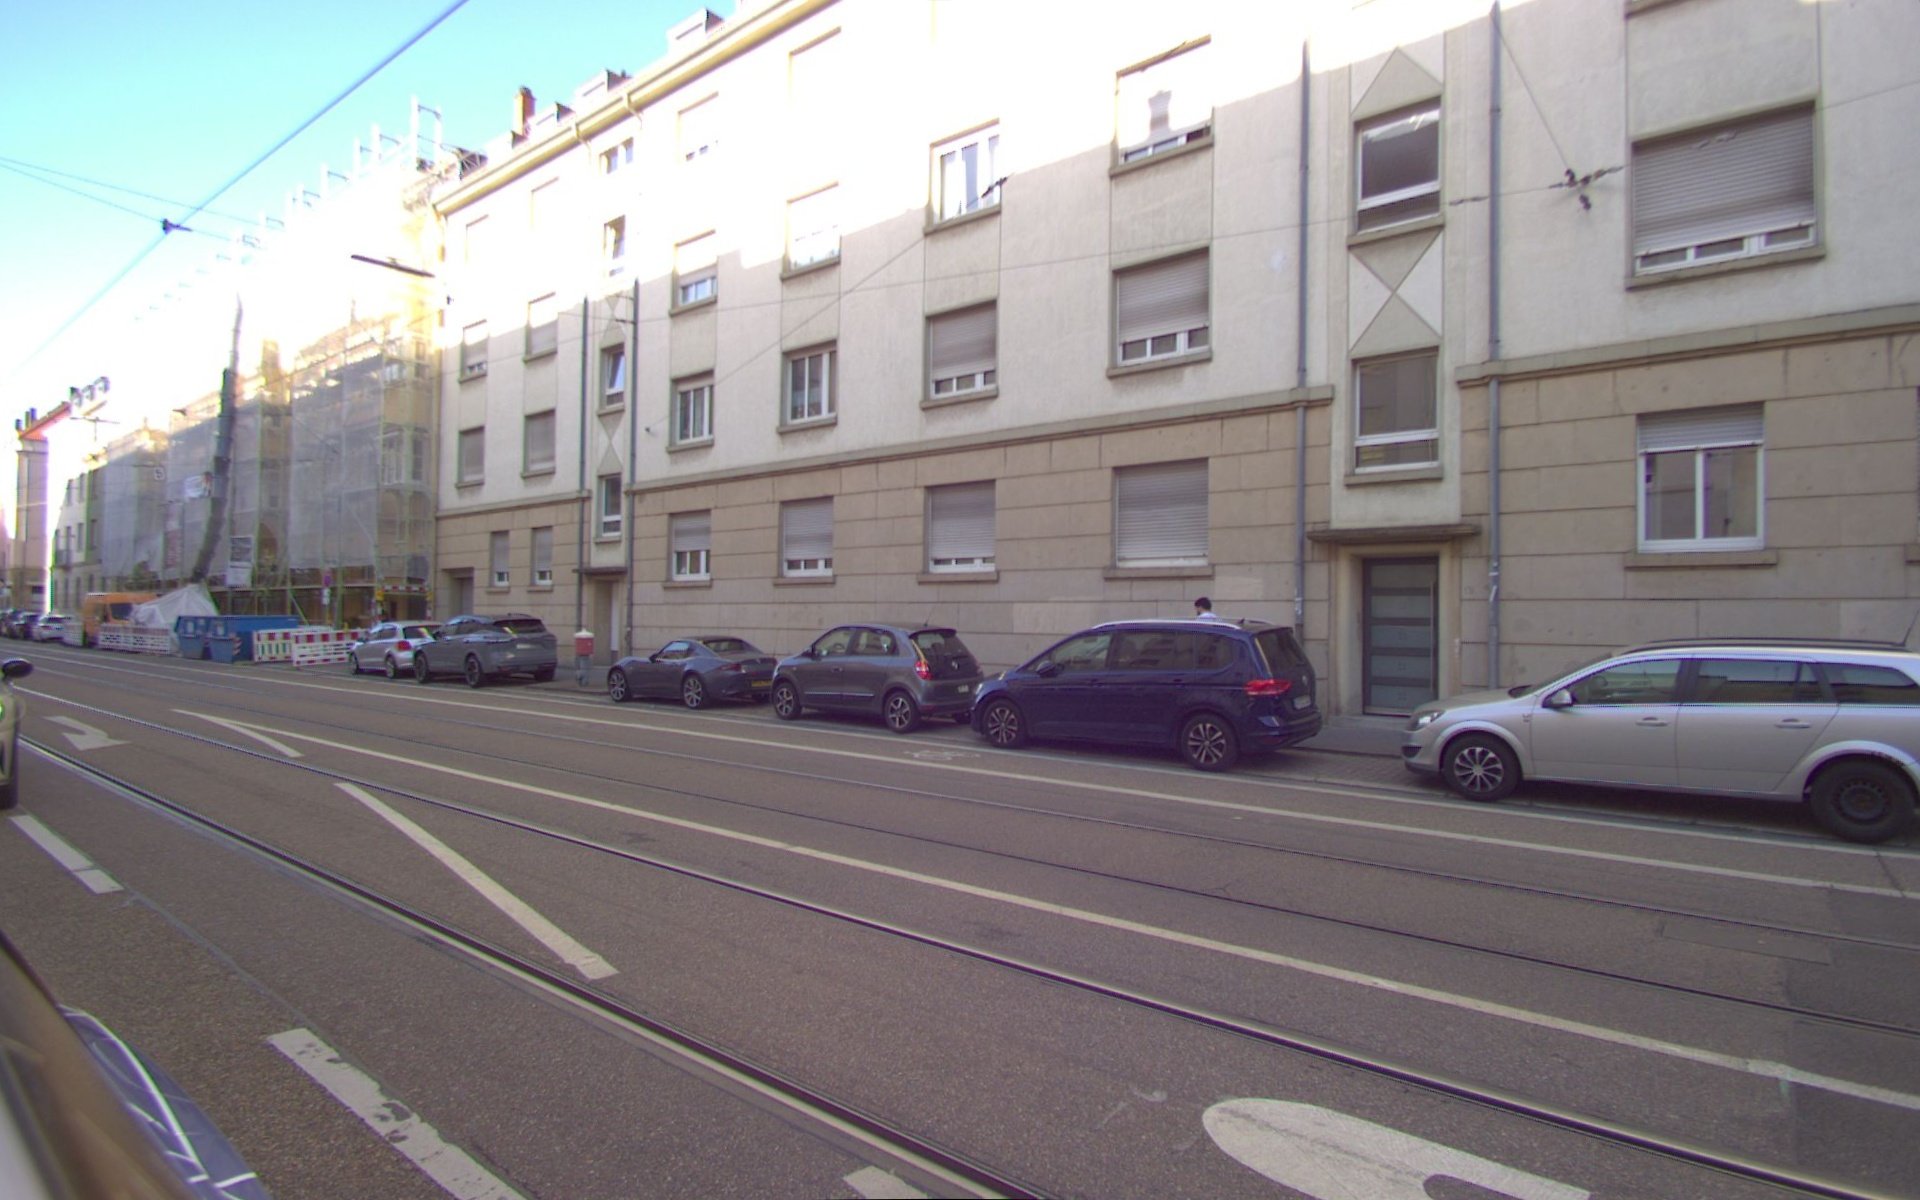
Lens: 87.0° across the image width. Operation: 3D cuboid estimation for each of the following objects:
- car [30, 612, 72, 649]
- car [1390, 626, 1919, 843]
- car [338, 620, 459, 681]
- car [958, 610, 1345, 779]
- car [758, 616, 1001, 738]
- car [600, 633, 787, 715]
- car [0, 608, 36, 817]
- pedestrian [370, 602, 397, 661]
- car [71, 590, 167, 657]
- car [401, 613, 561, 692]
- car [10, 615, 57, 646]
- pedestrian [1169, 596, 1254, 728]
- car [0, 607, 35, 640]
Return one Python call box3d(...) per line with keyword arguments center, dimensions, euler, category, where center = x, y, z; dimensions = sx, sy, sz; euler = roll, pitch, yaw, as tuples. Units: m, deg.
box3d(center=(-49.669, 1.626, 55.278), dimensions=(1.634, 1.937, 3.769), euler=(-1, 0, -43), category="car")
box3d(center=(6.366, 1.032, 9.035), dimensions=(4.365, 1.465, 1.708), euler=(0, 1, 38), category="car")
box3d(center=(-14.798, 1.275, 26.627), dimensions=(3.503, 1.390, 1.546), euler=(0, 1, 38), category="car")
box3d(center=(2.220, 0.987, 12.363), dimensions=(4.319, 1.645, 1.797), euler=(0, 1, 38), category="car")
box3d(center=(-1.294, 1.066, 15.463), dimensions=(3.592, 1.570, 1.623), euler=(0, 1, 40), category="car")
box3d(center=(-4.877, 1.272, 18.370), dimensions=(3.519, 1.229, 1.458), euler=(0, 1, 38), category="car")
box3d(center=(-8.462, 0.800, 7.697), dimensions=(3.815, 1.436, 1.705), euler=(-2, -3, 42), category="car")
box3d(center=(-18.700, 1.003, 32.841), dimensions=(0.762, 1.886, 0.512), euler=(0, 0, 40), category="pedestrian")
box3d(center=(-36.391, 0.946, 43.715), dimensions=(5.869, 2.717, 2.187), euler=(0, 0, 40), category="car")
box3d(center=(-11.288, 1.144, 23.736), dimensions=(4.154, 1.621, 1.730), euler=(0, 1, 38), category="car")
box3d(center=(-54.340, 1.745, 59.356), dimensions=(3.934, 1.696, 1.550), euler=(0, 0, 41), category="car")
box3d(center=(3.535, 0.834, 14.232), dimensions=(1.003, 1.781, 0.657), euler=(0, 0, 32), category="pedestrian")
box3d(center=(-59.182, 1.443, 63.246), dimensions=(4.182, 1.971, 1.550), euler=(0, 0, 41), category="car")
